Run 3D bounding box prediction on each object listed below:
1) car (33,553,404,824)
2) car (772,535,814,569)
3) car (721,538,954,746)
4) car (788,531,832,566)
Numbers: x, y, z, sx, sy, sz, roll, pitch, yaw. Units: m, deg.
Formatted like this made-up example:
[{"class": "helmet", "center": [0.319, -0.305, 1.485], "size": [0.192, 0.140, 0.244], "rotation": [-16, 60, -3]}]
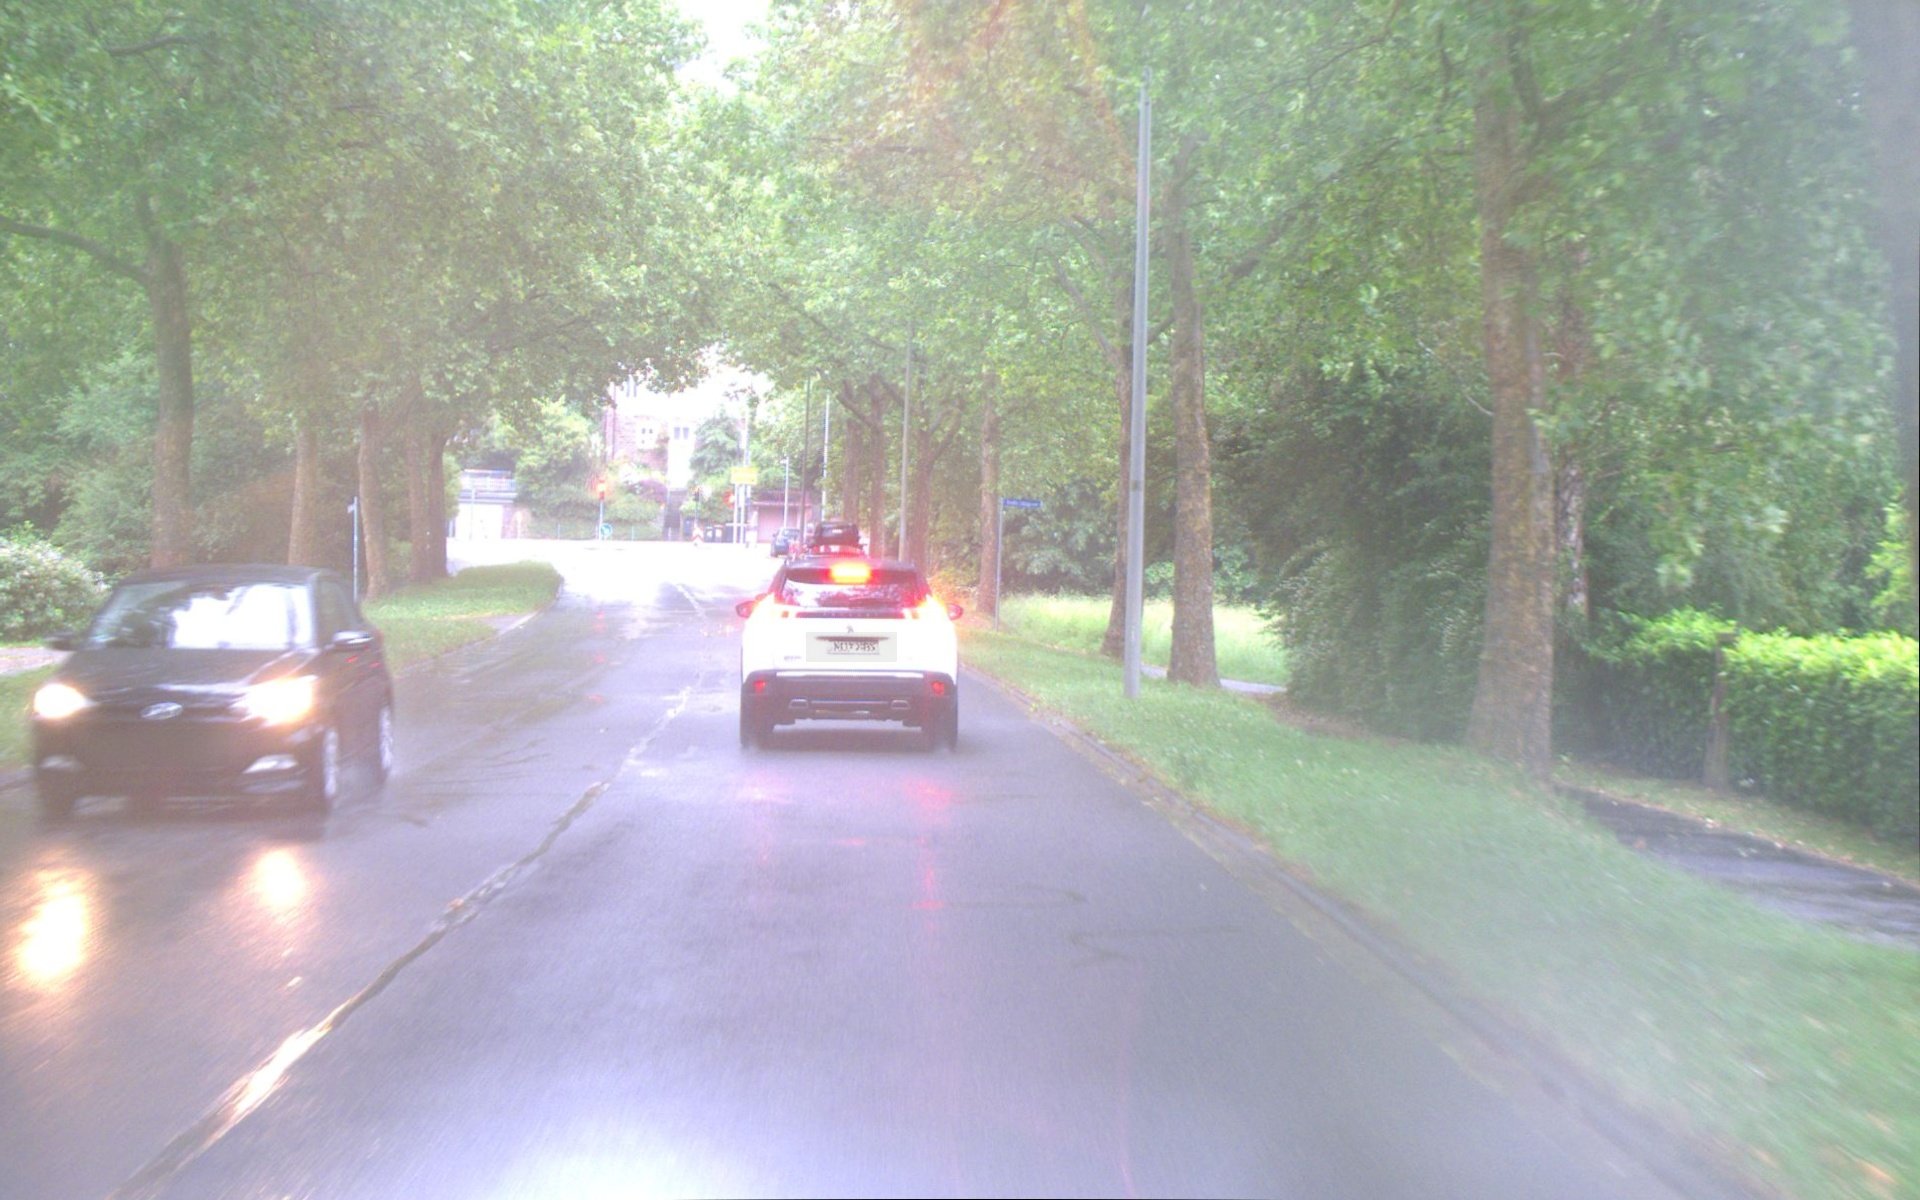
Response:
[{"class": "car", "center": [-4.494, 0.482, 21.334], "size": [1.706, 1.481, 3.882], "rotation": [2, 0, -5]}, {"class": "car", "center": [-8.241, -2.379, 169.946], "size": [1.827, 1.590, 3.654], "rotation": [2, 1, 0]}, {"class": "car", "center": [-1.007, 0.298, 29.019], "size": [1.793, 1.573, 3.845], "rotation": [2, 1, -1]}, {"class": "car", "center": [-6.992, -2.393, 160.211], "size": [1.827, 1.590, 3.654], "rotation": [2, 1, 0]}]
